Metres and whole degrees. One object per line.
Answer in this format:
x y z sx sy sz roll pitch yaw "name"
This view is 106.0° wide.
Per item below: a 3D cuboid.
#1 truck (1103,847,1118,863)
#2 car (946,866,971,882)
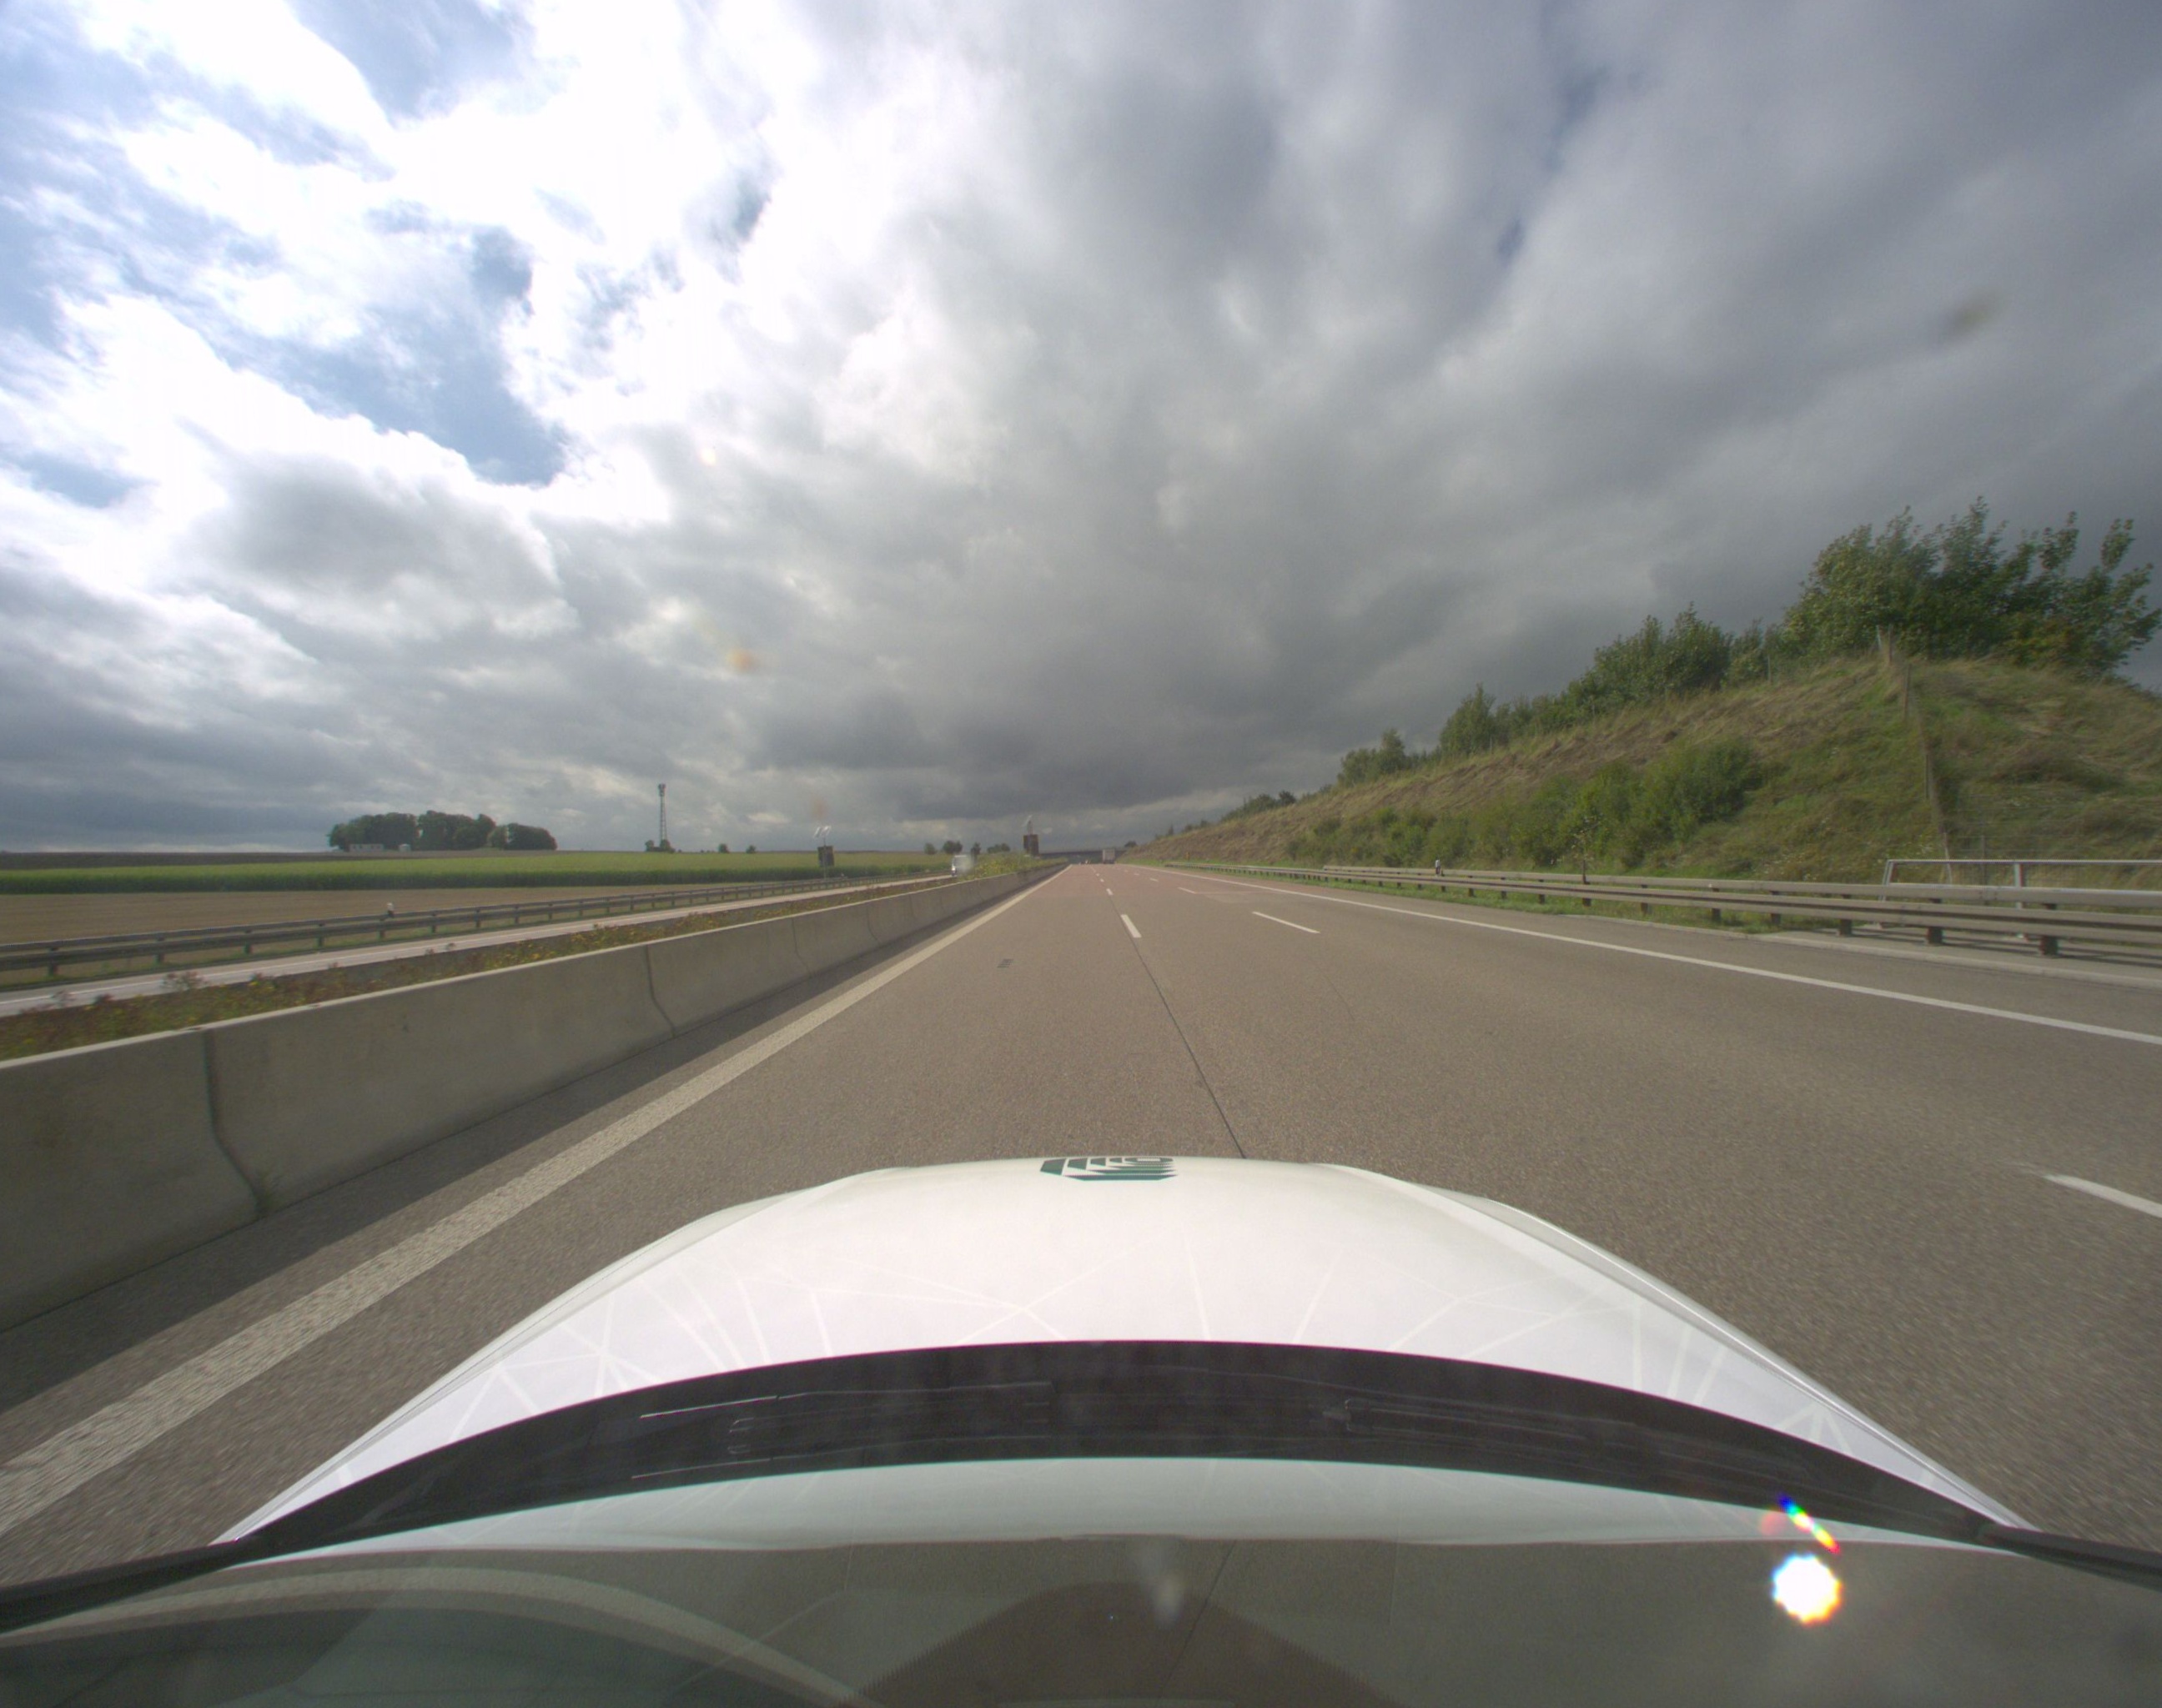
7.559 0.243 209.984 3.604 3.945 11.177 0 0 1 "truck"
-15.381 2.494 102.864 2.049 1.913 5.705 -3 0 1 "car"
